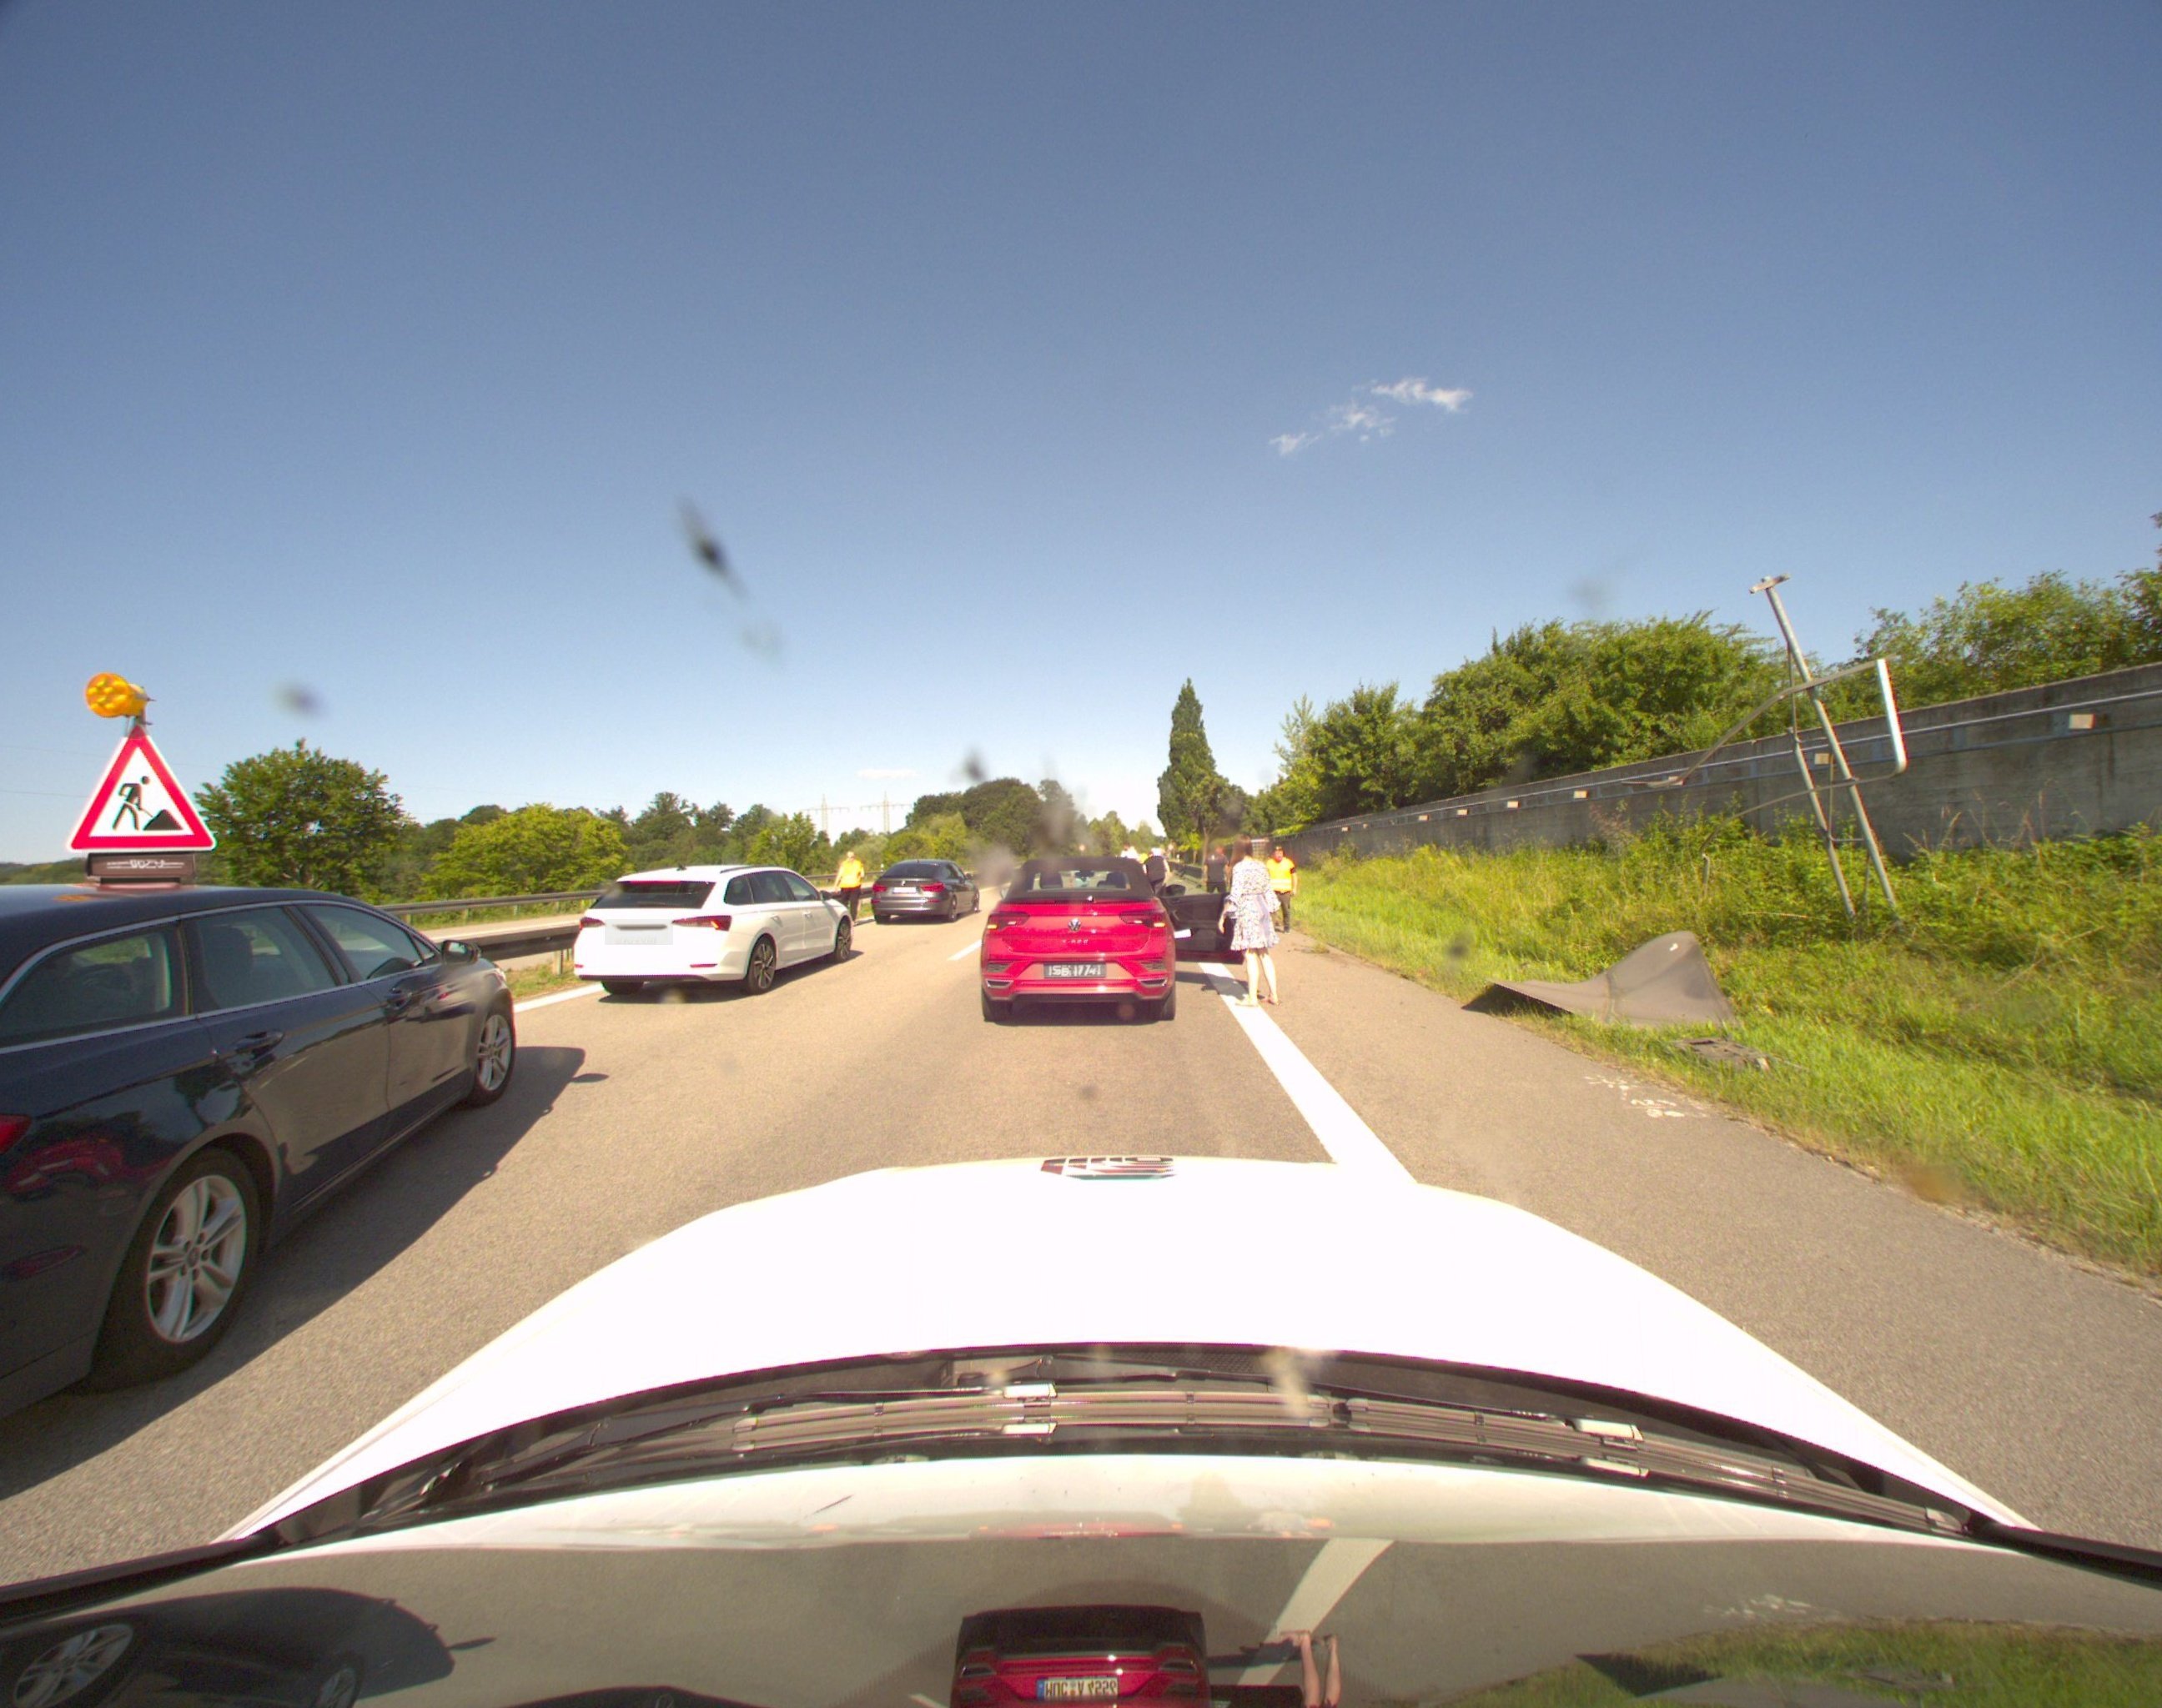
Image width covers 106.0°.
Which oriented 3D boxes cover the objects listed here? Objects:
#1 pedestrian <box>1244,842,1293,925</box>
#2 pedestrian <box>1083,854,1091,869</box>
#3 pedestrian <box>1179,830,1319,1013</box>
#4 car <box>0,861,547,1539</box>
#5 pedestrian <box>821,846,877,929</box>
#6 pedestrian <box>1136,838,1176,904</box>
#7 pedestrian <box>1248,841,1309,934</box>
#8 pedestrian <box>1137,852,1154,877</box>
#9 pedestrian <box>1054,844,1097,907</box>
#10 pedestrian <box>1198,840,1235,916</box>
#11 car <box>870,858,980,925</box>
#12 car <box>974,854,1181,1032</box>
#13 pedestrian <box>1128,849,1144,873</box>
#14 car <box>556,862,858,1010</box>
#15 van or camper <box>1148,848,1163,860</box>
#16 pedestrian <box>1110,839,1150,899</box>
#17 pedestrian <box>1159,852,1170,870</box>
[{"bbox_3d":[3.979,0.609,17.315,0.891,1.725,0.755,-1,-1,4],"label":"pedestrian"},{"bbox_3d":[0.664,0.857,91.791,0.787,1.689,0.794,-1,-1,7],"label":"pedestrian"},{"bbox_3d":[1.685,0.632,8.314,0.893,1.695,1.121,-2,0,-20],"label":"pedestrian"},{"bbox_3d":[-3.872,0.825,3.296,1.794,1.493,4.463,-2,-1,-19],"label":"car"},{"bbox_3d":[-5.139,0.721,18.116,1.041,1.763,1.114,-2,0,-12],"label":"pedestrian"},{"bbox_3d":[2.223,0.488,24.289,1.086,1.883,1.069,-2,0,1],"label":"pedestrian"},{"bbox_3d":[3.710,0.613,15.422,0.952,1.653,1.281,-2,0,9],"label":"pedestrian"},{"bbox_3d":[4.322,0.700,54.559,1.049,1.689,1.020,-1,-1,9],"label":"pedestrian"},{"bbox_3d":[-0.143,0.622,23.623,1.098,1.789,1.094,-1,-1,7],"label":"pedestrian"},{"bbox_3d":[3.257,0.565,19.508,0.806,1.759,0.831,-1,-1,12],"label":"pedestrian"},{"bbox_3d":[-3.710,0.844,20.116,1.688,1.426,4.337,-1,0,3],"label":"car"},{"bbox_3d":[0.067,0.750,8.967,1.725,1.487,4.213,-1,0,3],"label":"car"},{"bbox_3d":[3.986,0.509,59.484,1.109,1.689,0.973,0,-1,1],"label":"pedestrian"},{"bbox_3d":[-4.347,0.848,10.302,1.688,1.441,4.213,-1,0,3],"label":"car"},{"bbox_3d":[14.801,-0.003,160.812,1.978,2.316,4.491,-1,-1,18],"label":"van or camper"},{"bbox_3d":[1.611,0.494,27.142,1.104,1.912,1.255,-2,0,-5],"label":"pedestrian"},{"bbox_3d":[7.926,0.679,77.468,0.991,1.689,1.012,-1,-1,6],"label":"pedestrian"}]
